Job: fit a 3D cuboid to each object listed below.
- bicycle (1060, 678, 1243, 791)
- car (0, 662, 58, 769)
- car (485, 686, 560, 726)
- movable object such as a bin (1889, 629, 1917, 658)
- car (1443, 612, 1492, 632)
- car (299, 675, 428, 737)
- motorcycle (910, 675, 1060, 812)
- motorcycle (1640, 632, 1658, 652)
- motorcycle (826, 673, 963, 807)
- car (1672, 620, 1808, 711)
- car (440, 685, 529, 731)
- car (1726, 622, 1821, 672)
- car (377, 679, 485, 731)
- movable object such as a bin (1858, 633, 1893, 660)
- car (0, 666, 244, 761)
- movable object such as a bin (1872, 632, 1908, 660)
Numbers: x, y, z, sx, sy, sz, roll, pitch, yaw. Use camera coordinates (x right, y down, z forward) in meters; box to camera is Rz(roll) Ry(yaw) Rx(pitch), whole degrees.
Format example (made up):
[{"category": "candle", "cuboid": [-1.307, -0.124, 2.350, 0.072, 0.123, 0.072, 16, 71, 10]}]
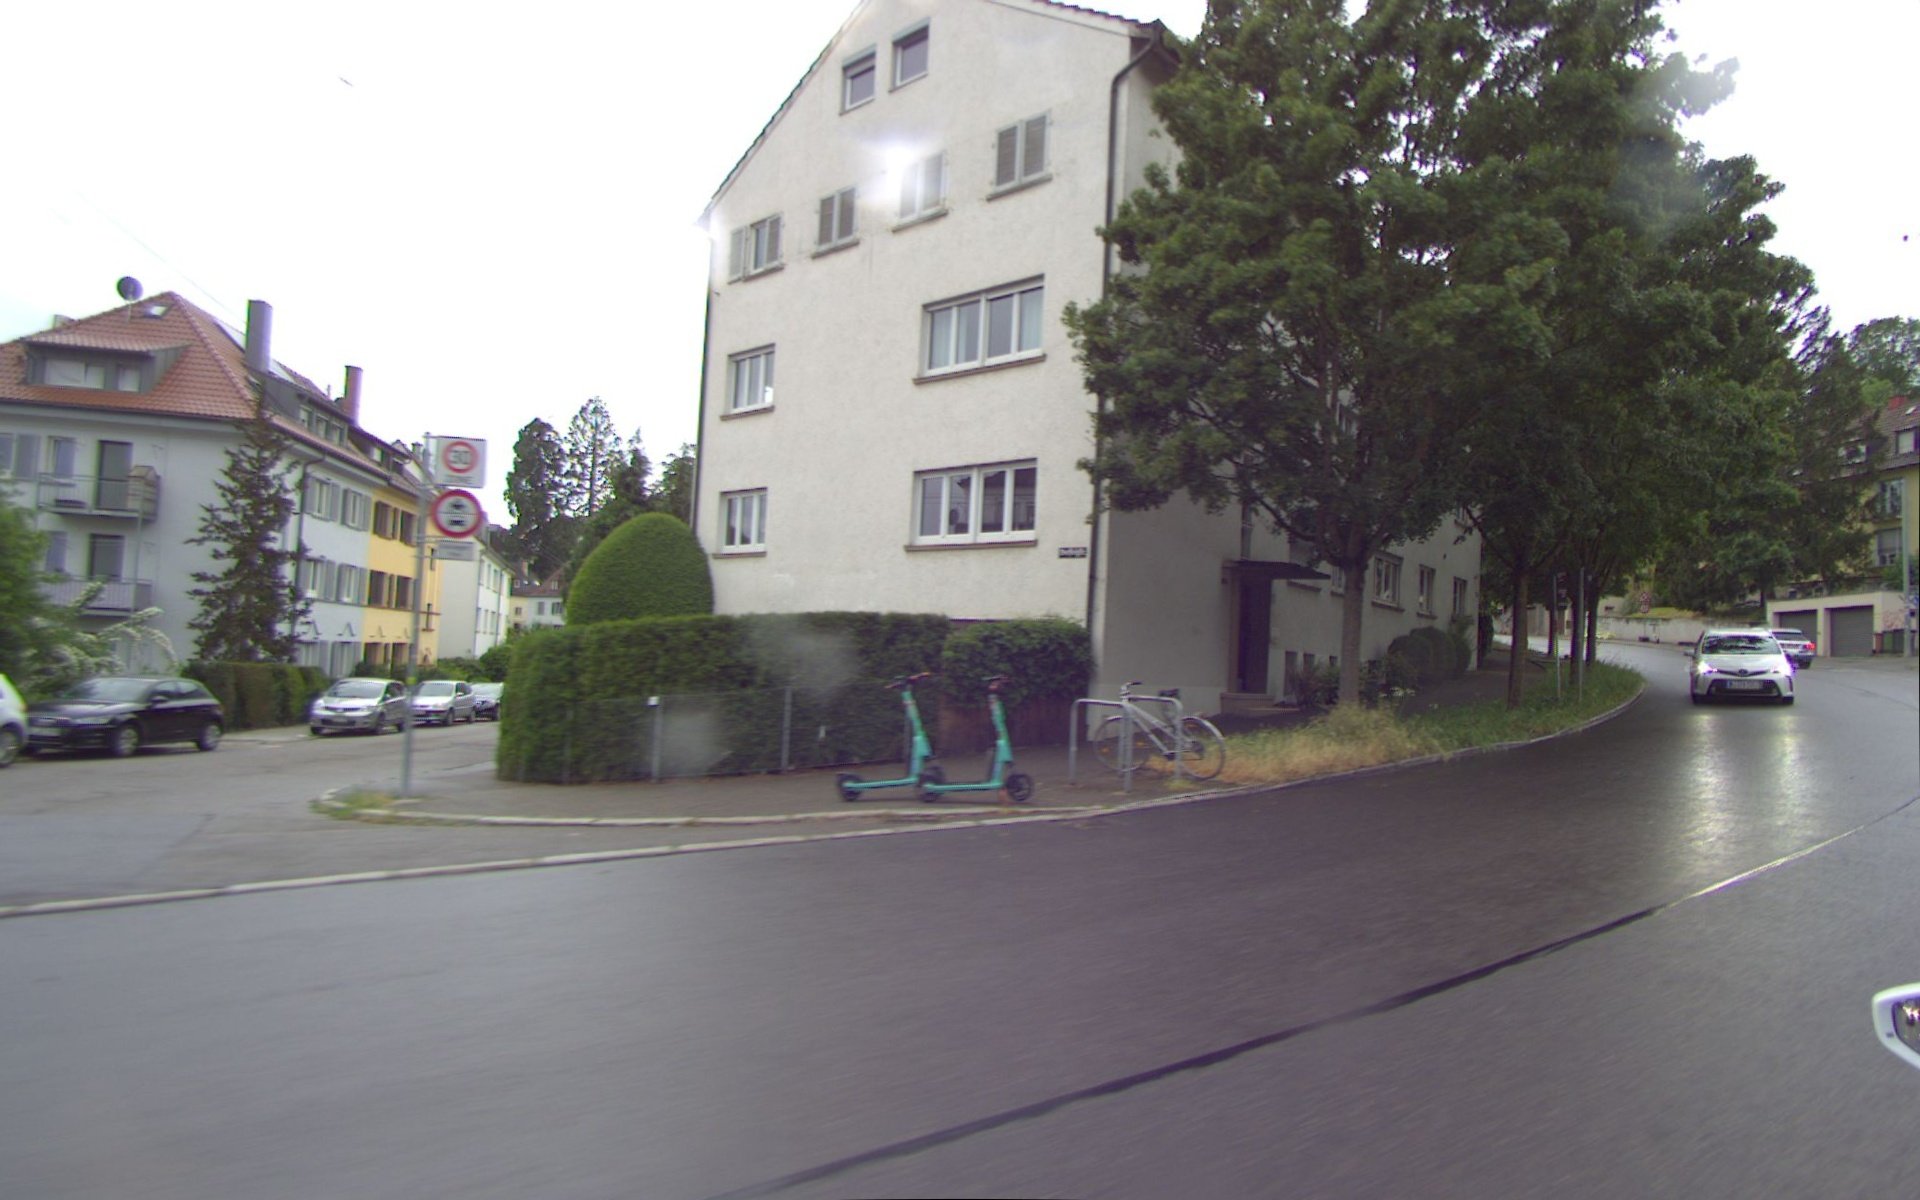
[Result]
[{"category": "bicycle", "cuboid": [2.132, 1.467, 11.359, 1.942, 1.074, 0.750, -1, -2, 44]}, {"category": "car", "cuboid": [-14.601, 1.523, 13.327, 1.965, 1.536, 4.101, 2, -7, -11]}, {"category": "car", "cuboid": [-18.961, 4.640, 43.700, 1.964, 1.626, 3.997, 2, -6, -9]}, {"category": "movable object such as a bin", "cuboid": [40.741, 1.868, 43.402, 0.690, 1.239, 0.581, 0, -1, 3]}, {"category": "car", "cuboid": [44.107, 1.897, 87.386, 1.962, 1.706, 3.997, 1, 0, -4]}, {"category": "car", "cuboid": [-16.999, 3.050, 28.849, 1.826, 1.626, 3.996, 2, -7, -11]}, {"category": "motorcycle", "cuboid": [0.242, 1.376, 9.879, 1.377, 1.219, 0.556, 0, -1, -19]}, {"category": "motorcycle", "cuboid": [43.256, 2.624, 63.028, 0.539, 1.147, 1.440, 1, 0, 18]}, {"category": "motorcycle", "cuboid": [-0.665, 1.378, 10.125, 1.285, 1.244, 0.552, 0, -1, -19]}, {"category": "car", "cuboid": [17.216, 1.402, 22.392, 1.957, 1.811, 4.682, -4, -3, 33]}, {"category": "car", "cuboid": [-18.246, 4.177, 38.726, 1.964, 1.626, 3.997, 2, -6, -9]}, {"category": "car", "cuboid": [31.644, 1.777, 39.208, 1.920, 1.582, 4.257, 2, 2, 26]}, {"category": "car", "cuboid": [-17.769, 3.580, 33.981, 1.964, 1.626, 3.997, 2, -6, -9]}, {"category": "movable object such as a bin", "cuboid": [40.885, 2.079, 44.882, 0.845, 1.157, 0.800, 0, -1, 3]}, {"category": "car", "cuboid": [-15.488, 2.102, 18.633, 1.965, 1.536, 4.101, 2, -7, -11]}, {"category": "movable object such as a bin", "cuboid": [40.827, 2.018, 44.089, 0.845, 1.201, 0.787, 0, -1, 3]}]
